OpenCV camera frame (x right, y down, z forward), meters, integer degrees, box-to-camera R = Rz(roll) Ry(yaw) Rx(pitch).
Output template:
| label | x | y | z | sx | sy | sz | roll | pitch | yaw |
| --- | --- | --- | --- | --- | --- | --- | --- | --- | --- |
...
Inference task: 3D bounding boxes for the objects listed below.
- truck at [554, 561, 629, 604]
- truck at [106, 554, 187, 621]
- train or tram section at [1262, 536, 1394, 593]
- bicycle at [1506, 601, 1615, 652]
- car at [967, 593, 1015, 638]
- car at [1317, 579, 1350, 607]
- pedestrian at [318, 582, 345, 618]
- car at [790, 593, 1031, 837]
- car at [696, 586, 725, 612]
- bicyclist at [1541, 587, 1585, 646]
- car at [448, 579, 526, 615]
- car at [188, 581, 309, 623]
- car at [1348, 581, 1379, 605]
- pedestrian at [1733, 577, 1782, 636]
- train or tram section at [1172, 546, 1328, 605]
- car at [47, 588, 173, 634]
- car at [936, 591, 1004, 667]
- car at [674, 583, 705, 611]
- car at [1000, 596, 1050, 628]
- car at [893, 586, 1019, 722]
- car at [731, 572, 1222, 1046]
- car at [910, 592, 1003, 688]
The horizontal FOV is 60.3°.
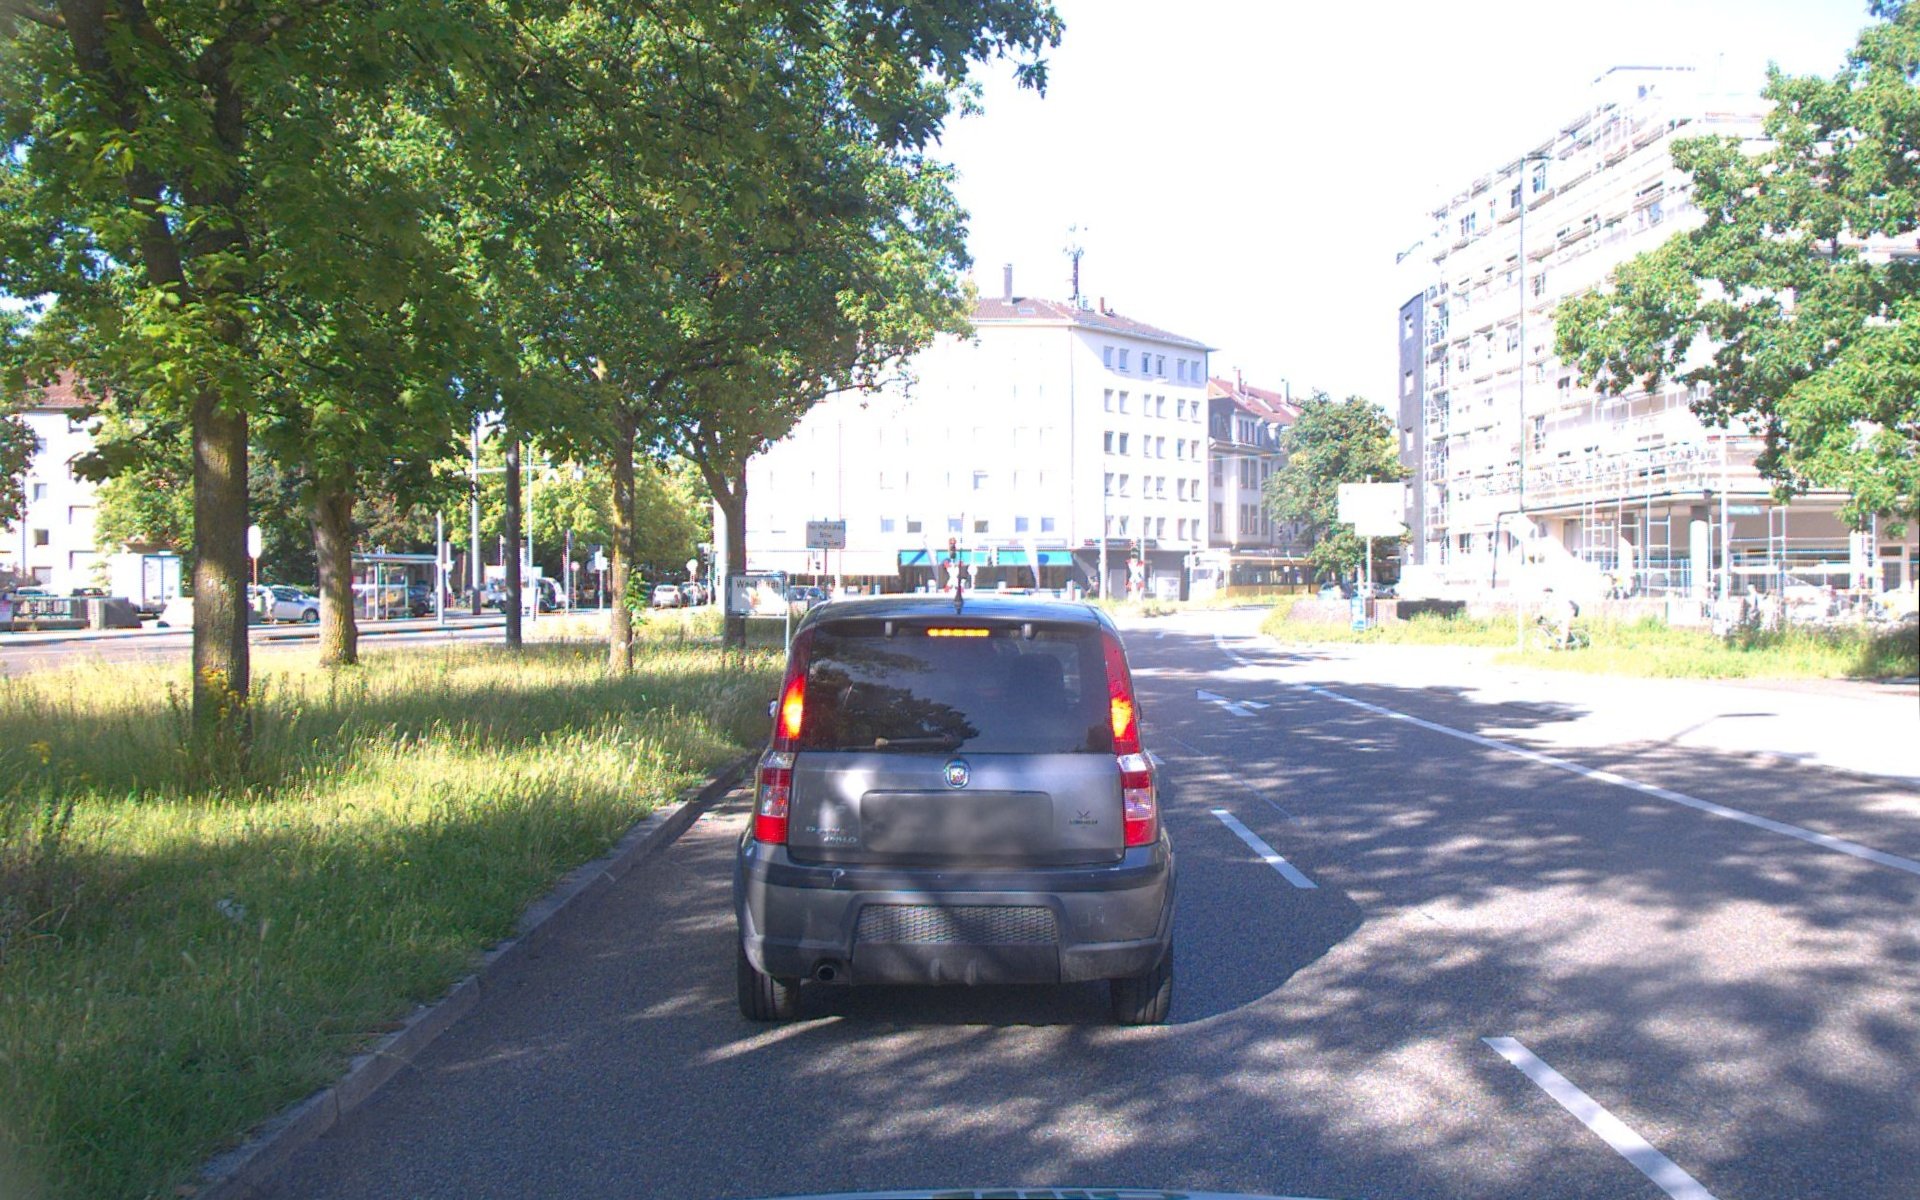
| label | x | y | z | sx | sy | sz | roll | pitch | yaw |
| --- | --- | --- | --- | --- | --- | --- | --- | --- | --- |
| truck | -28.365 | -1.351 | 127.357 | 5.371 | 3.224 | 2.341 | 0 | 0 | 28 |
| truck | -35.748 | -0.550 | 72.679 | 3.932 | 2.854 | 1.987 | 0 | 1 | 44 |
| train or tram section | 27.489 | -2.550 | 122.060 | 3.235 | 3.836 | 20.764 | 0 | 1 | 31 |
| bicycle | 15.060 | 0.663 | 41.518 | 2.460 | 1.219 | 0.710 | 1 | 0 | 0 |
| car | 0.915 | 0.443 | 49.597 | 1.328 | 1.304 | 2.875 | 0 | 1 | -1 |
| car | 20.500 | -0.392 | 90.704 | 1.646 | 1.475 | 3.574 | 0 | 1 | 15 |
| pedestrian | -29.337 | -0.002 | 77.212 | 0.904 | 1.636 | 0.794 | 0 | 0 | 38 |
| car | -0.320 | 0.680 | 11.582 | 1.434 | 1.425 | 3.393 | 0 | 1 | -1 |
| car | -20.045 | -0.108 | 132.993 | 1.954 | 2.049 | 3.996 | 0 | 1 | -5 |
| bicyclist | 15.116 | 0.415 | 41.505 | 0.825 | 1.463 | 0.744 | 1 | -1 | 1 |
| car | -27.934 | -0.180 | 97.719 | 4.093 | 2.049 | 1.930 | 0 | 0 | -3 |
| car | -29.959 | 0.050 | 69.773 | 1.961 | 1.713 | 4.302 | 0 | 1 | 38 |
| car | 23.005 | -0.394 | 94.234 | 1.495 | 1.337 | 3.289 | 0 | 1 | 17 |
| pedestrian | 23.271 | 0.187 | 48.296 | 0.879 | 1.682 | 0.977 | 0 | 0 | -30 |
| train or tram section | 19.415 | -1.586 | 108.684 | 3.236 | 3.574 | 19.339 | 0 | 1 | 31 |
| car | -33.579 | 0.417 | 65.393 | 1.961 | 1.713 | 3.983 | 0 | 1 | 38 |
| car | 0.174 | 0.555 | 33.851 | 1.328 | 1.475 | 3.265 | 0 | 0 | -1 |
| car | -20.160 | -0.241 | 123.274 | 1.954 | 2.049 | 3.996 | 0 | 1 | -5 |
| car | 2.281 | 0.402 | 57.693 | 1.118 | 1.083 | 2.723 | 0 | 1 | 17 |
| car | -0.075 | 0.602 | 20.663 | 1.434 | 1.534 | 3.504 | 0 | 1 | -1 |
| car | 0.029 | 0.658 | 7.403 | 1.595 | 1.534 | 3.999 | 0 | 1 | -1 |
| car | -0.084 | 0.607 | 27.290 | 1.434 | 1.449 | 3.381 | 0 | 1 | -1 |
